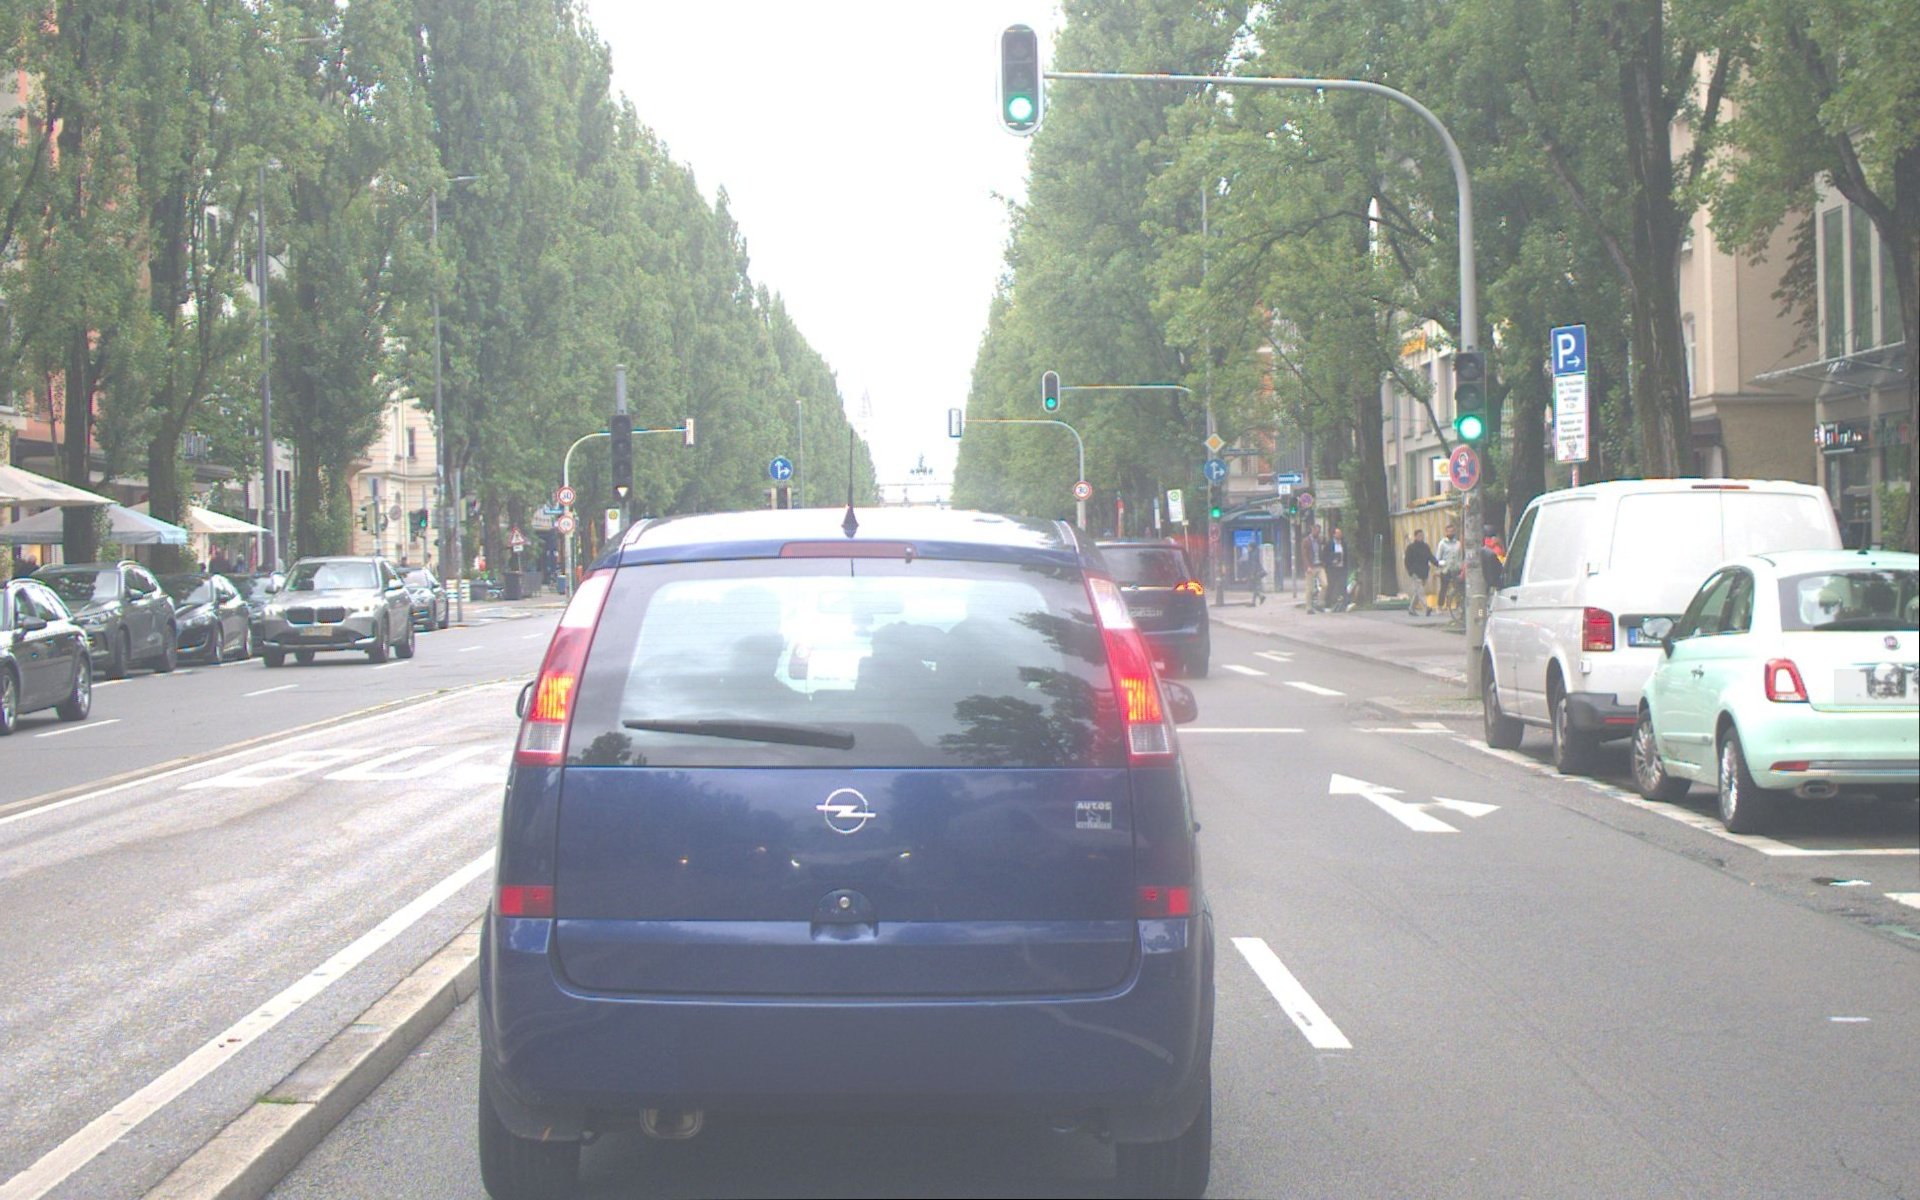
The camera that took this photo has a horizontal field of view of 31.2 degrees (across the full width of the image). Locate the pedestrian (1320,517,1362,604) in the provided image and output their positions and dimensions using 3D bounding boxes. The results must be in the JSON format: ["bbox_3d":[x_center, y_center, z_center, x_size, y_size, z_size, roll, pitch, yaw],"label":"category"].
[{"bbox_3d":[8.120,-0.839,73.300,0.636,1.820,0.888,1,0,-10],"label":"pedestrian"}]

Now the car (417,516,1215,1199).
[{"bbox_3d":[-0.314,0.570,9.212,1.671,1.563,4.000,0,1,0],"label":"car"}]

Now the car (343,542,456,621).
[{"bbox_3d":[-12.679,-0.443,78.005,1.866,1.660,4.120,-3,1,-1],"label":"car"}]

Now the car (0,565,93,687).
[{"bbox_3d":[-12.244,0.325,42.997,1.733,1.421,4.144,-3,1,-1],"label":"car"}]

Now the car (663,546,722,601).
[{"bbox_3d":[-10.176,-1.028,131.019,1.993,2.007,4.000,-1,1,-1],"label":"car"}]

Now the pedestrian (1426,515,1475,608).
[{"bbox_3d":[9.801,-0.768,68.713,0.719,1.820,0.888,1,0,-10],"label":"pedestrian"}]

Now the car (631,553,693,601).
[{"bbox_3d":[-10.655,-0.840,122.980,1.866,1.660,4.120,-1,1,-1],"label":"car"}]

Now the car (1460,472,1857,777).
[{"bbox_3d":[4.810,0.115,24.336,1.787,1.939,4.731,0,1,-1],"label":"car"}]

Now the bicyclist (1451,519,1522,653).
[{"bbox_3d":[7.053,-0.196,46.079,0.767,1.760,0.885,-1,1,-1],"label":"bicyclist"}]

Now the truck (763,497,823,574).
[{"bbox_3d":[-7.479,-2.879,154.477,2.383,3.335,7.111,-1,1,-1],"label":"truck"}]

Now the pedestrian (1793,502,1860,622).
[{"bbox_3d":[12.322,-0.538,48.912,0.673,1.680,0.759,-2,0,-5],"label":"pedestrian"}]

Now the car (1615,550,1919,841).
[{"bbox_3d":[4.785,0.463,19.313,1.541,1.487,3.523,0,1,0],"label":"car"}]

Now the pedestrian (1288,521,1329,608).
[{"bbox_3d":[7.384,-0.759,72.870,0.636,1.820,0.888,1,0,-10],"label":"pedestrian"}]

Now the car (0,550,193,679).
[{"bbox_3d":[-12.347,0.167,48.883,1.866,1.660,4.401,-3,1,-1],"label":"car"}]

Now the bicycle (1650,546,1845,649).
[{"bbox_3d":[9.702,-0.034,42.374,2.227,1.200,0.626,-1,1,-2],"label":"bicycle"}]

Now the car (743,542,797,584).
[{"bbox_3d":[-6.798,-1.336,123.200,1.735,1.460,3.365,-1,1,-1],"label":"car"}]

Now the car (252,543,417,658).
[{"bbox_3d":[-9.549,-0.031,52.767,1.770,1.629,4.456,-2,1,-1],"label":"car"}]

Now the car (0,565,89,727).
[{"bbox_3d":[-9.527,0.445,32.047,1.745,1.429,4.130,-3,1,-1],"label":"car"}]

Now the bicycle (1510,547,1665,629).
[{"bbox_3d":[9.626,-0.184,52.754,2.227,1.200,0.626,-1,1,-2],"label":"bicycle"}]

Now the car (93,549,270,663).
[{"bbox_3d":[-12.360,0.056,54.809,1.866,1.660,4.120,-3,1,-1],"label":"car"}]

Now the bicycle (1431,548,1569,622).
[{"bbox_3d":[9.213,-0.255,58.652,2.227,1.200,0.626,-1,1,-2],"label":"bicycle"}]

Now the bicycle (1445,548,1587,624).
[{"bbox_3d":[9.254,-0.237,57.273,2.227,1.200,0.626,-1,1,-2],"label":"bicycle"}]

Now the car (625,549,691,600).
[{"bbox_3d":[-10.218,-0.867,116.520,1.866,1.660,4.120,-1,1,-1],"label":"car"}]

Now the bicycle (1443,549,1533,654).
[{"bbox_3d":[7.052,0.004,46.021,0.772,1.344,2.449,-1,1,-1],"label":"bicycle"}]

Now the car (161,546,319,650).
[{"bbox_3d":[-12.502,-0.062,59.944,1.866,1.660,4.120,-3,1,-1],"label":"car"}]

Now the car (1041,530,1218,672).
[{"bbox_3d":[1.974,-0.020,41.164,1.896,1.616,4.000,0,1,0],"label":"car"}]

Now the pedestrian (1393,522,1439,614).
[{"bbox_3d":[9.080,-0.639,68.441,0.636,1.820,0.888,1,0,-10],"label":"pedestrian"}]

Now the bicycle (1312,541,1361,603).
[{"bbox_3d":[8.316,-0.625,76.016,0.772,1.344,2.449,-1,1,-1],"label":"bicycle"}]

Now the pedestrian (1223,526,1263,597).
[{"bbox_3d":[7.148,-0.981,86.747,0.882,1.760,0.770,-1,1,-3],"label":"pedestrian"}]
